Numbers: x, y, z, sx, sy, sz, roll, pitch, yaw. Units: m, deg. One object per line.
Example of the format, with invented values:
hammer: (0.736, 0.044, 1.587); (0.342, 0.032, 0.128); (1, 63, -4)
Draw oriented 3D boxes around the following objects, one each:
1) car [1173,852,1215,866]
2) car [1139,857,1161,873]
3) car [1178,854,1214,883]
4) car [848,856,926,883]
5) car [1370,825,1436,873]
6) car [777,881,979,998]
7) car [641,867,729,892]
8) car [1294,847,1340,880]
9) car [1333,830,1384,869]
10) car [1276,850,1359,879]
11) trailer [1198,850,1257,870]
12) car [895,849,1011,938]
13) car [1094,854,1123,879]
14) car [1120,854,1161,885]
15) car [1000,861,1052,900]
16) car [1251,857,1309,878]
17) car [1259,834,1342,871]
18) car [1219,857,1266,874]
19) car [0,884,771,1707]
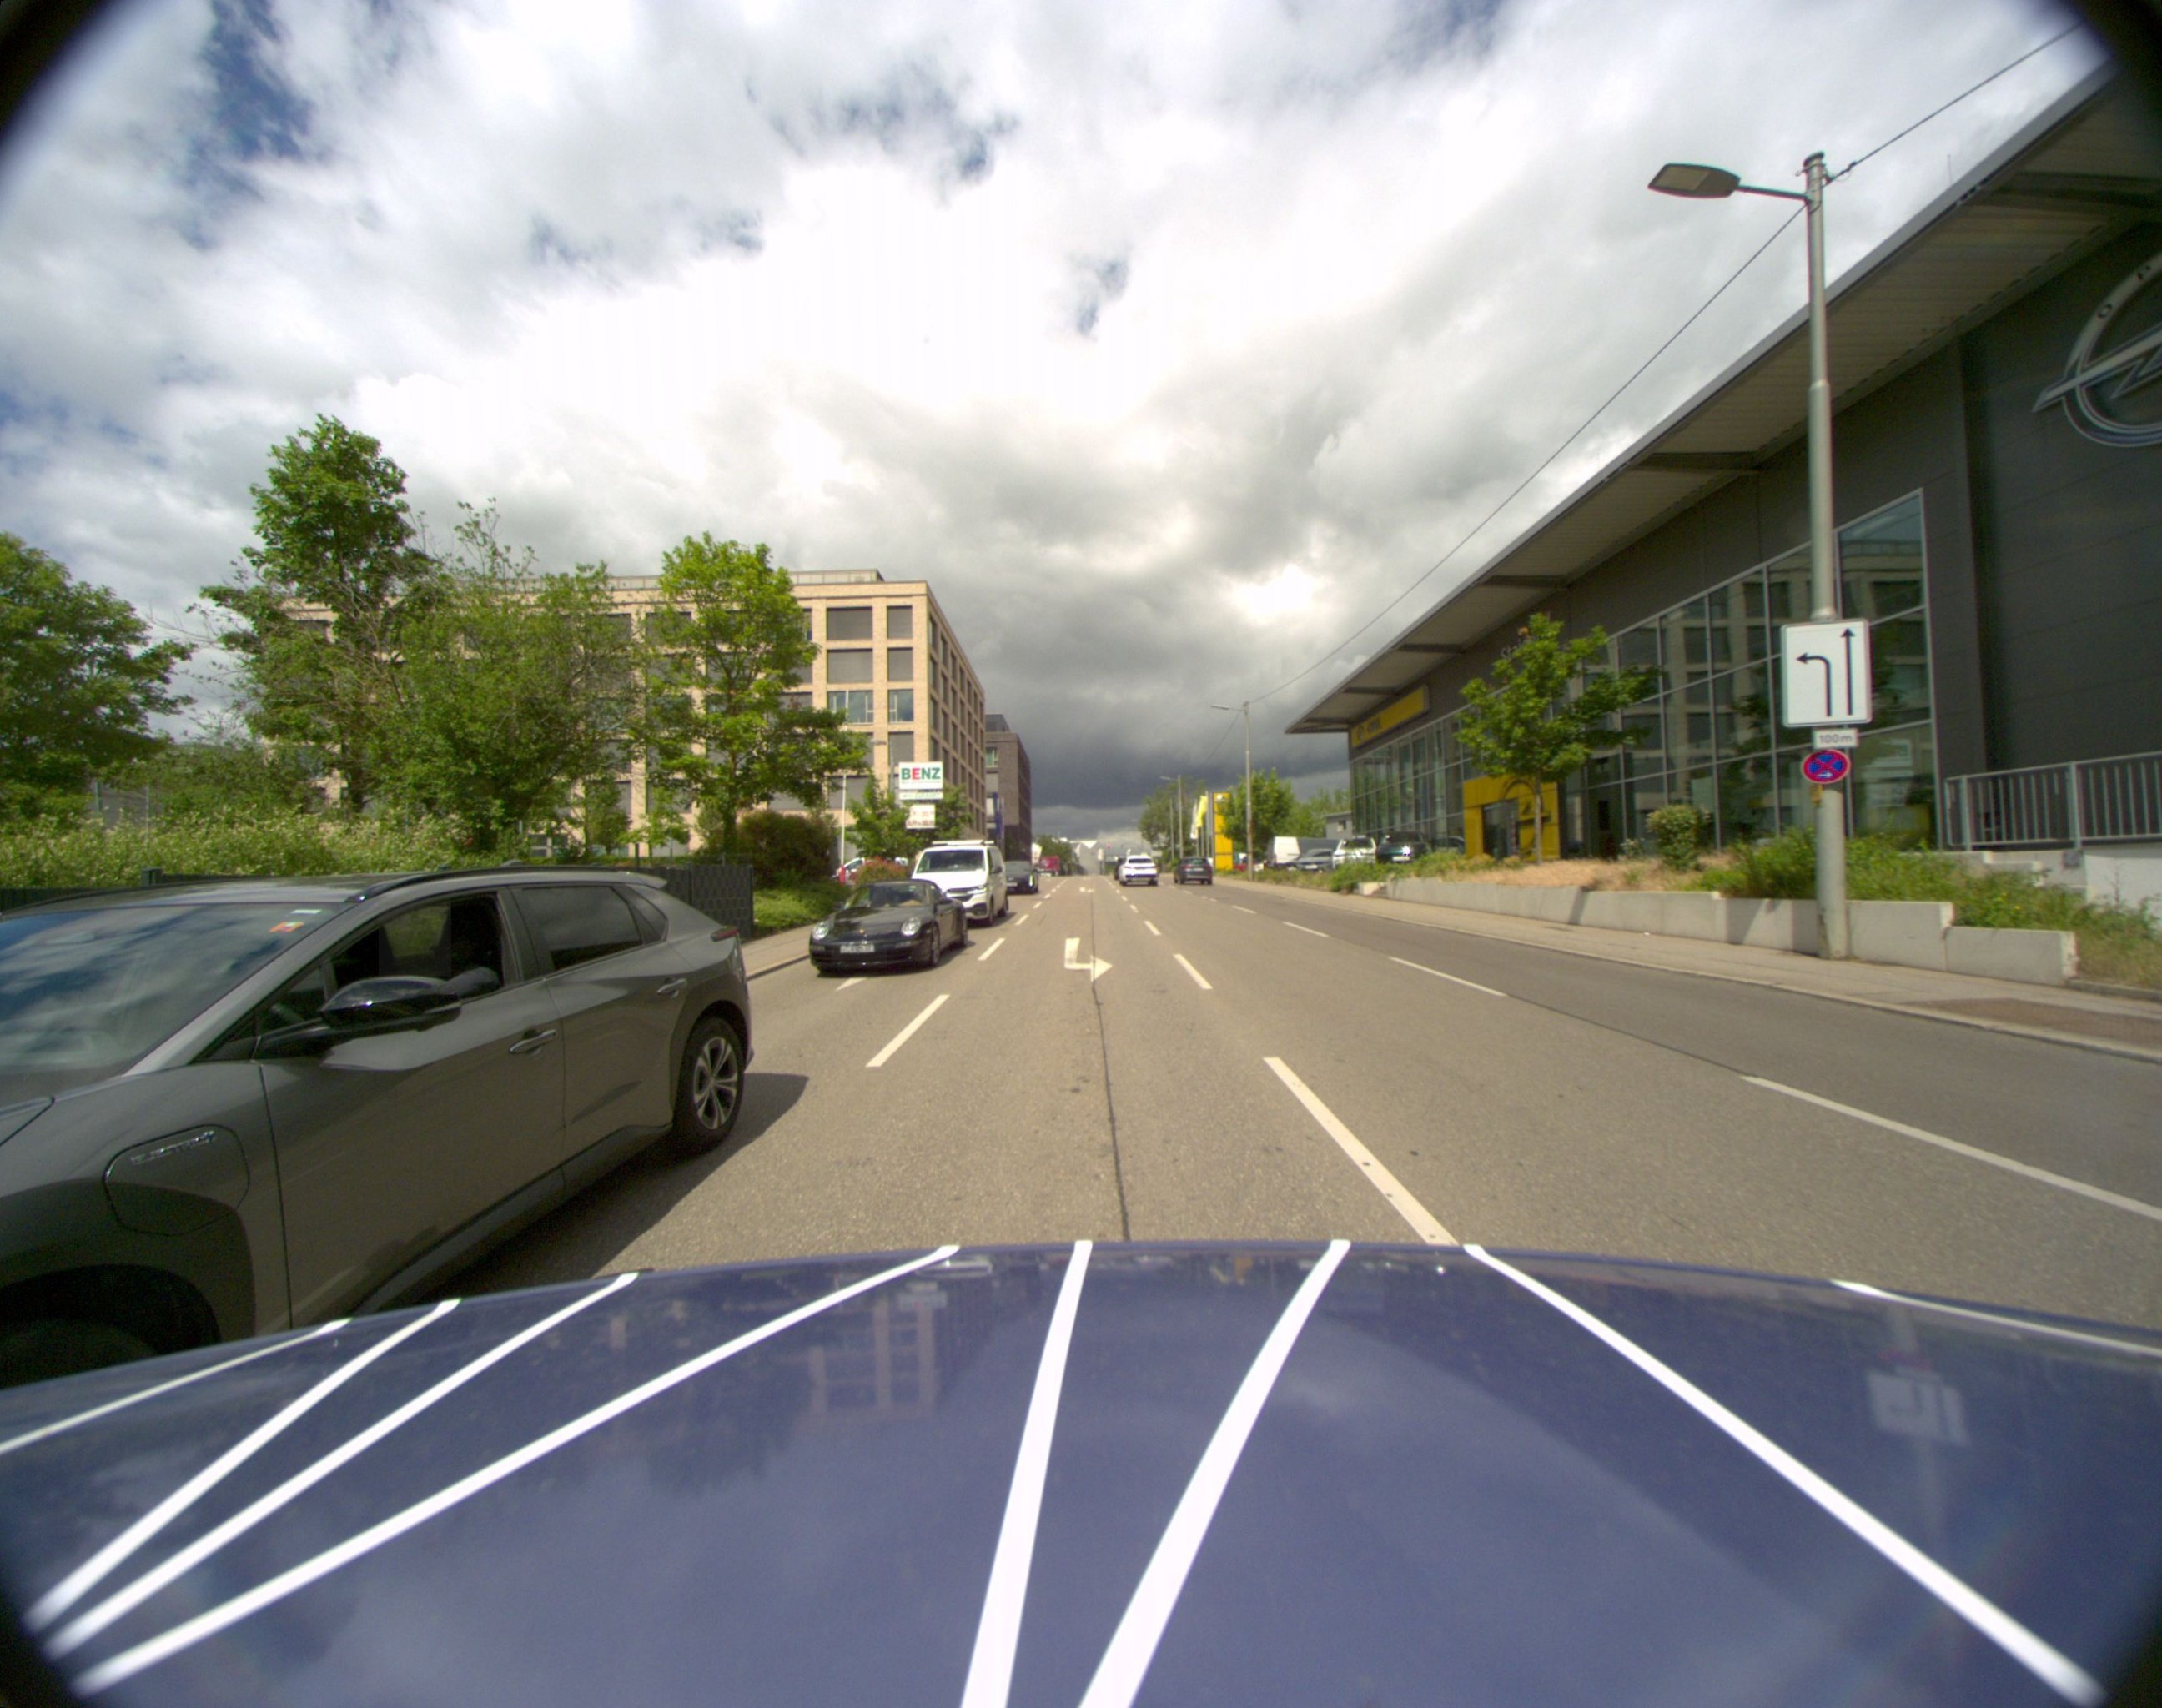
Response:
car: (12.523, 0.591, 84.322); (4.252, 1.473, 2.095); (-1, 0, -2)
car: (6.560, 1.033, 72.173); (1.763, 1.405, 3.734); (1, 0, 1)
car: (6.550, 0.808, 43.658); (1.762, 1.513, 3.959); (-1, 0, 4)
car: (-11.569, 0.910, 45.511); (4.220, 1.567, 1.735); (-1, 0, -4)
car: (12.341, -0.157, 28.985); (1.817, 1.603, 4.117); (-4, -2, 29)
car: (-2.905, 1.178, 11.990); (1.777, 1.267, 4.569); (-3, 0, 2)
car: (-23.368, 1.483, 44.937); (4.219, 1.410, 1.735); (-1, 0, -1)
car: (12.171, 0.482, 39.038); (1.794, 1.604, 4.116); (-1, 0, 24)
car: (12.341, -0.188, 33.660); (1.793, 1.604, 4.115); (-1, 1, 25)
car: (13.345, 0.575, 43.018); (4.108, 1.604, 1.797); (-1, 0, -8)
trailer: (13.228, 0.539, 68.681); (4.835, 1.742, 2.095); (-1, 0, -3)
car: (-2.988, 0.860, 18.791); (1.964, 1.840, 4.645); (-3, 0, 1)
car: (1.916, 0.835, 53.681); (1.797, 1.604, 4.107); (0, 2, -1)
car: (3.165, 0.802, 41.321); (1.924, 1.604, 4.416); (-1, 0, 1)
car: (-2.408, 1.120, 34.215); (1.777, 1.267, 4.567); (-4, 3, 2)
car: (14.973, 1.024, 57.291); (3.946, 1.518, 1.561); (-1, 0, -2)
car: (13.759, -0.108, 47.826); (4.531, 2.182, 2.179); (-1, 1, -1)
car: (13.718, 0.984, 64.801); (3.669, 1.401, 1.815); (-1, 0, 2)
car: (-2.974, 1.027, 2.436); (1.924, 1.604, 4.683); (-3, 0, 1)
